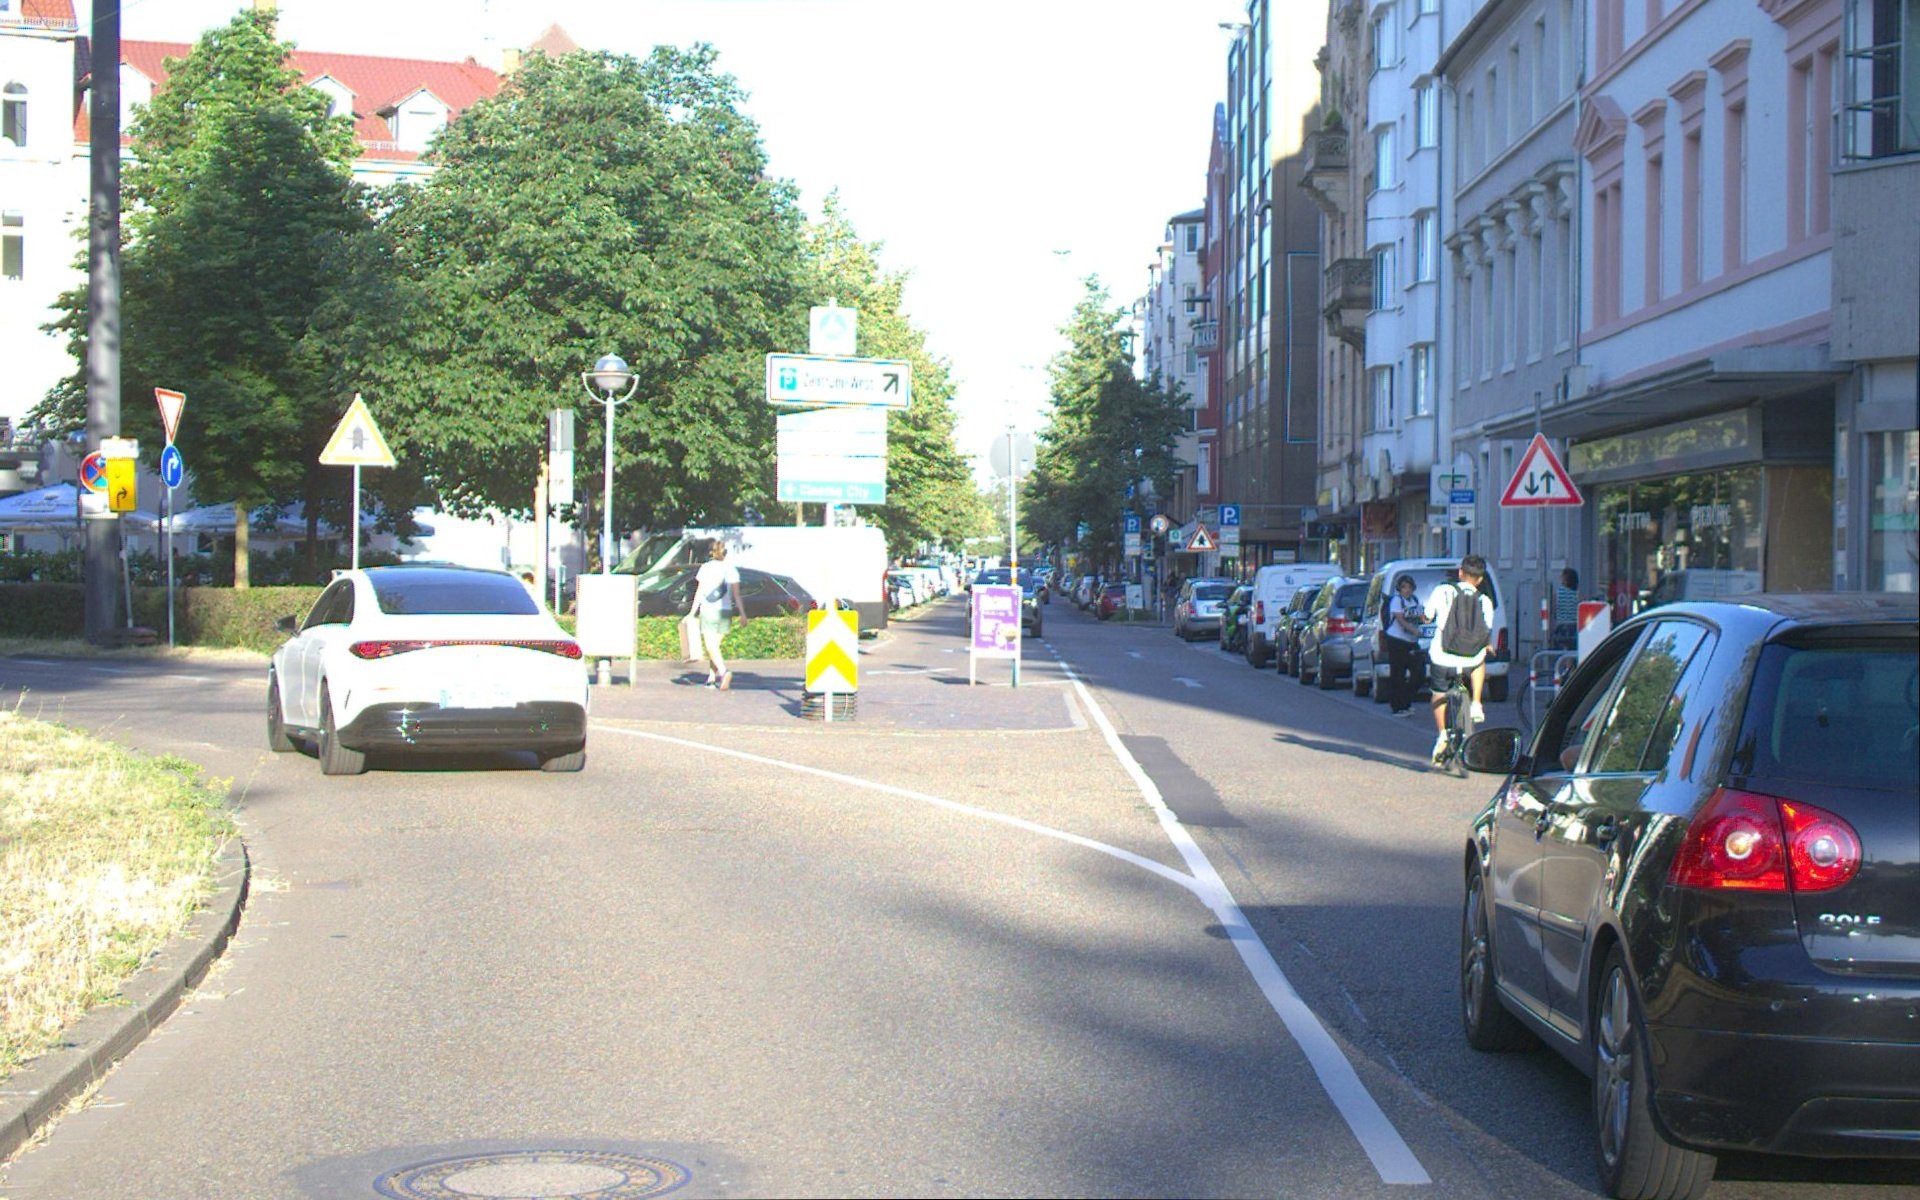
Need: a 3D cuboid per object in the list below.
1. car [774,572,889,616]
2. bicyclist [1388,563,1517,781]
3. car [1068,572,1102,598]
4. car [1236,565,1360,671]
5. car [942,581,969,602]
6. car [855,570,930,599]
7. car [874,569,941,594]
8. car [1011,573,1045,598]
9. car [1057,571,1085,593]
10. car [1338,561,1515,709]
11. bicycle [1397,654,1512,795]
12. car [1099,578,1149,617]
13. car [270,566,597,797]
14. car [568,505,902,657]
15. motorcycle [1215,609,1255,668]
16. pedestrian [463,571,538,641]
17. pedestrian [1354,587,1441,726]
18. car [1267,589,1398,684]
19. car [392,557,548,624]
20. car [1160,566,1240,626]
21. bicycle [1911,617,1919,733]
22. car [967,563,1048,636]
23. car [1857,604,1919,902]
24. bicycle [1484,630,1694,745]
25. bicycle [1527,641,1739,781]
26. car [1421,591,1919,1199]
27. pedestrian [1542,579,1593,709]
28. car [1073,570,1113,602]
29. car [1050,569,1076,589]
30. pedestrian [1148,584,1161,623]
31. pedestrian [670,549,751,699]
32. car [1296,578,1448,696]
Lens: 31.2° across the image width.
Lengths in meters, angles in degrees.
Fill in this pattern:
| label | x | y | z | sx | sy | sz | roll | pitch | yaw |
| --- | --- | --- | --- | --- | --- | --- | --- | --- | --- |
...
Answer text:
| label | x | y | z | sx | sy | sz | roll | pitch | yaw |
| --- | --- | --- | --- | --- | --- | --- | --- | --- | --- |
| car | -4.156 | -0.198 | 110.950 | 3.377 | 1.283 | 1.673 | 2 | 1 | -15 |
| bicyclist | 3.769 | 0.538 | 26.387 | 0.777 | 1.613 | 1.025 | 2 | 0 | 0 |
| car | 7.238 | -0.861 | 198.944 | 1.752 | 1.505 | 3.545 | 0 | 0 | -1 |
| car | 6.065 | 0.297 | 62.073 | 1.925 | 1.835 | 4.017 | 0 | 0 | 2 |
| car | -0.288 | -0.579 | 230.097 | 1.667 | 1.283 | 3.389 | 2 | 1 | 2 |
| car | -3.307 | -0.778 | 168.459 | 3.377 | 1.283 | 1.673 | 2 | 1 | -15 |
| car | -2.934 | -1.036 | 190.612 | 3.377 | 1.283 | 1.673 | 2 | 1 | -15 |
| car | 3.720 | -0.790 | 189.501 | 1.667 | 1.283 | 3.389 | 2 | 1 | -2 |
| car | 7.768 | -1.255 | 241.079 | 1.752 | 1.505 | 3.545 | 0 | 0 | -1 |
| car | 5.934 | 0.421 | 44.095 | 1.734 | 1.794 | 3.916 | 0 | 0 | 0 |
| bicycle | 3.787 | 0.935 | 26.427 | 0.579 | 0.984 | 1.935 | 2 | 0 | 0 |
| car | 6.443 | -0.101 | 135.409 | 1.752 | 1.505 | 3.545 | 0 | 0 | -1 |
| car | -3.953 | 0.522 | 25.274 | 1.864 | 1.436 | 4.198 | -1 | 2 | -16 |
| car | -4.024 | -0.327 | 61.675 | 5.510 | 2.586 | 2.155 | 1 | 0 | -25 |
| motorcycle | 5.691 | 0.789 | 71.179 | 0.486 | 1.170 | 1.607 | -2 | 1 | -7 |
| pedestrian | -8.312 | 0.102 | 62.238 | 1.097 | 1.222 | 0.860 | 2 | 0 | -25 |
| pedestrian | 4.978 | 0.641 | 39.145 | 0.737 | 1.549 | 0.630 | 1 | 0 | 37 |
| car | 5.975 | 0.568 | 55.459 | 1.734 | 1.457 | 3.585 | 0 | 0 | 0 |
| car | -13.823 | -0.272 | 96.928 | 3.986 | 1.776 | 1.853 | 1 | 0 | -22 |
| car | 6.130 | -0.110 | 88.109 | 1.752 | 1.505 | 3.545 | 0 | 0 | -1 |
| bicycle | 9.932 | 0.698 | 32.871 | 0.514 | 1.115 | 1.523 | -3 | 0 | -43 |
| car | 1.226 | -0.032 | 88.001 | 1.993 | 1.766 | 4.000 | 1 | 1 | 1 |
| car | 5.551 | 0.744 | 15.770 | 1.662 | 1.436 | 3.823 | -1 | 1 | -3 |
| bicycle | 5.949 | 0.822 | 32.529 | 1.850 | 1.042 | 0.580 | -1 | 1 | 31 |
| bicycle | 5.593 | 0.911 | 28.607 | 1.605 | 1.115 | 0.611 | -1 | 1 | 34 |
| car | 2.391 | 0.738 | 9.437 | 1.747 | 1.456 | 4.103 | 1 | 0 | 1 |
| pedestrian | 7.731 | 0.557 | 43.754 | 0.502 | 1.619 | 0.496 | 2 | 0 | 1 |
| car | 6.494 | -0.693 | 168.148 | 1.752 | 1.505 | 3.545 | 0 | 0 | -1 |
| car | 7.615 | -1.563 | 255.308 | 1.752 | 1.505 | 3.545 | 0 | 0 | -1 |
| pedestrian | 9.593 | 0.151 | 169.614 | 0.531 | 1.917 | 0.542 | 1 | 0 | -1 |
| pedestrian | -2.898 | 0.270 | 39.895 | 0.859 | 1.700 | 0.941 | 2 | 0 | -6 |
| car | 5.899 | 0.503 | 49.591 | 1.734 | 1.611 | 3.916 | 0 | 0 | 0 |
